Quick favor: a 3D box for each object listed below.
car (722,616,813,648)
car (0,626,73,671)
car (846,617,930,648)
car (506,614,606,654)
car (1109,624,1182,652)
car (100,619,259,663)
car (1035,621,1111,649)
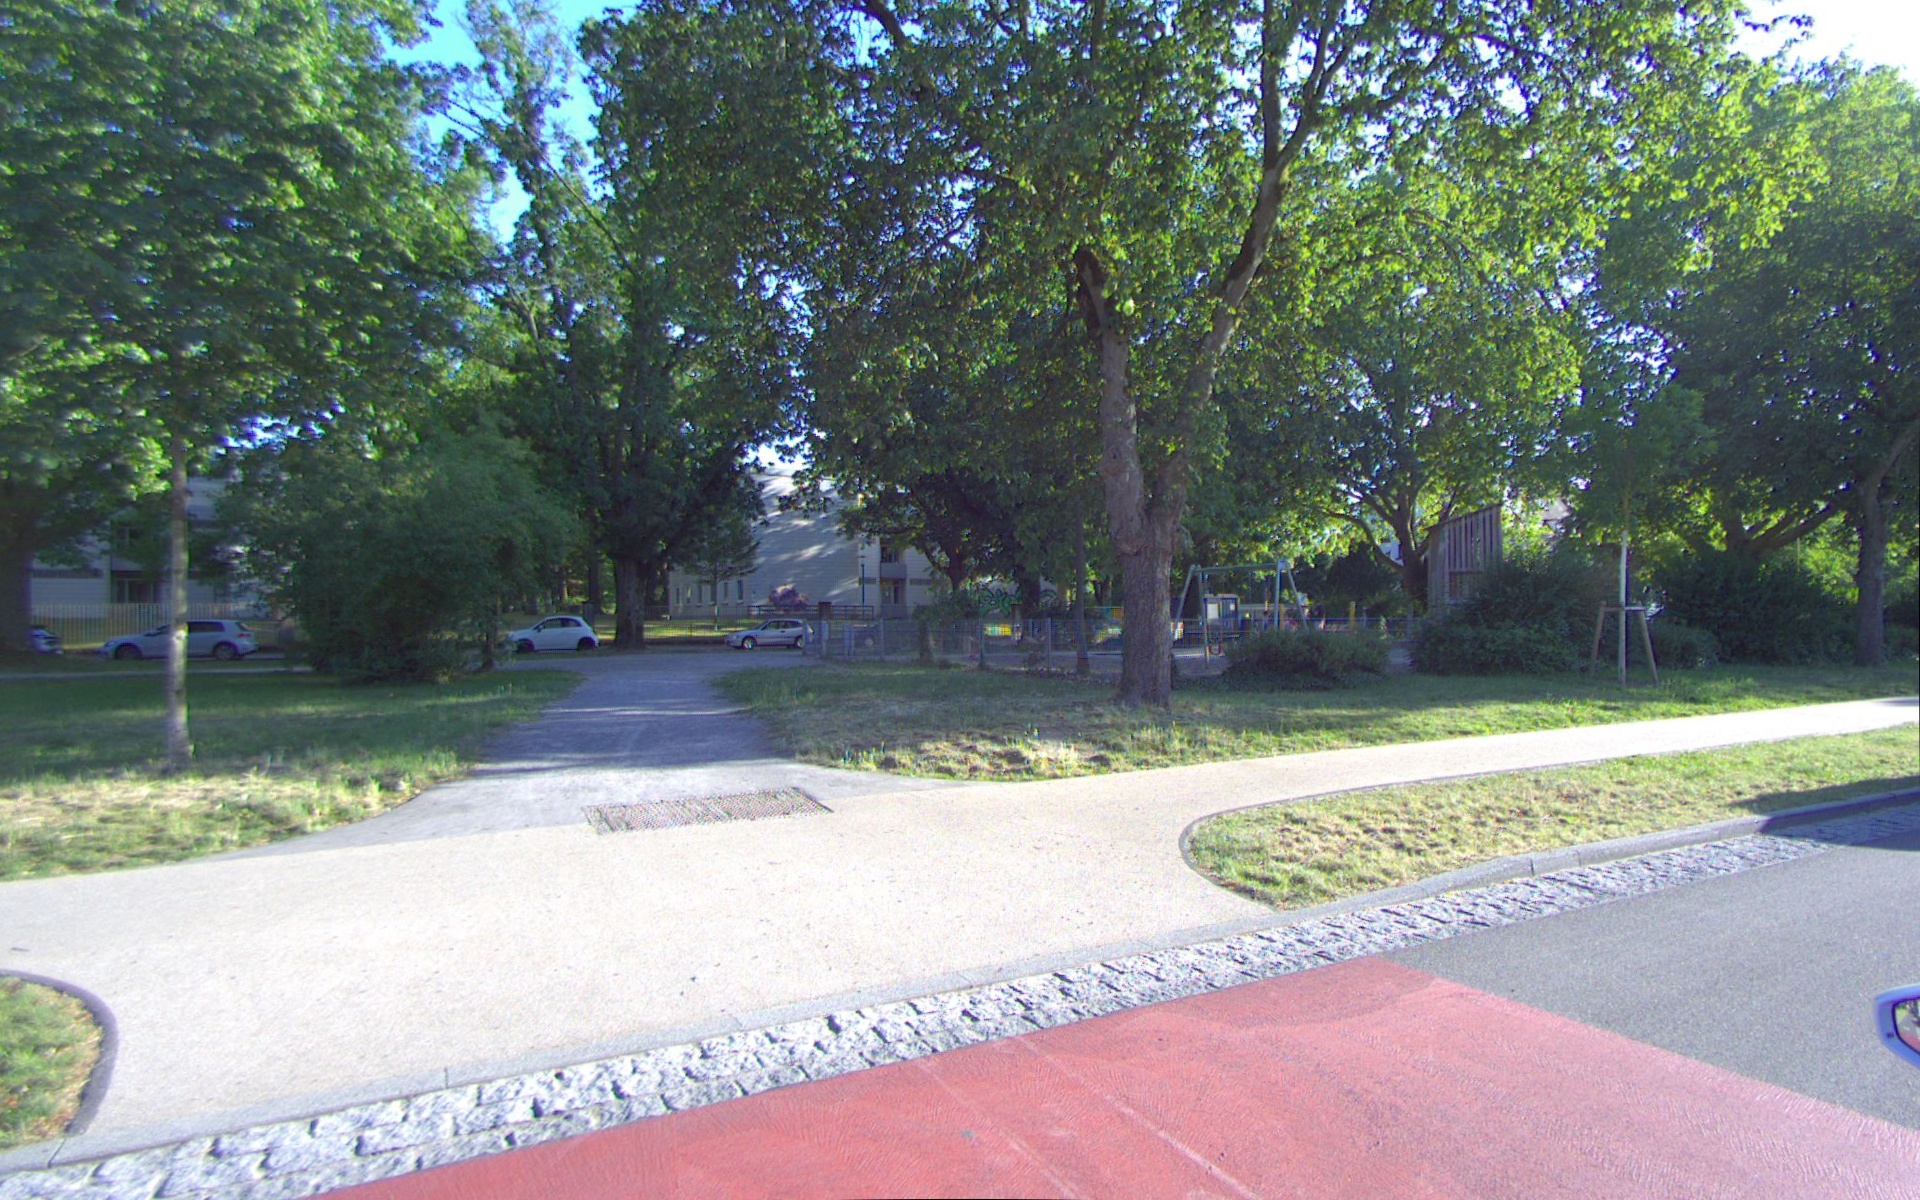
[{"bbox_3d":[-8.510,1.384,44.506,3.704,1.309,1.516,0,0,-27],"label":"car"},{"bbox_3d":[-31.006,1.550,32.057,3.746,1.386,1.515,0,0,-29],"label":"car"},{"bbox_3d":[-3.380,1.490,47.211,3.704,1.386,1.516,0,0,-27],"label":"car"},{"bbox_3d":[-16.118,1.330,40.044,3.615,1.483,1.595,0,0,-26],"label":"car"},{"bbox_3d":[9.942,2.038,53.868,3.704,1.386,1.516,0,0,-27],"label":"car"},{"bbox_3d":[-26.525,1.372,34.314,4.057,1.386,1.515,0,0,-29],"label":"car"},{"bbox_3d":[5.859,1.785,51.911,3.704,1.386,1.516,0,0,-27],"label":"car"}]
